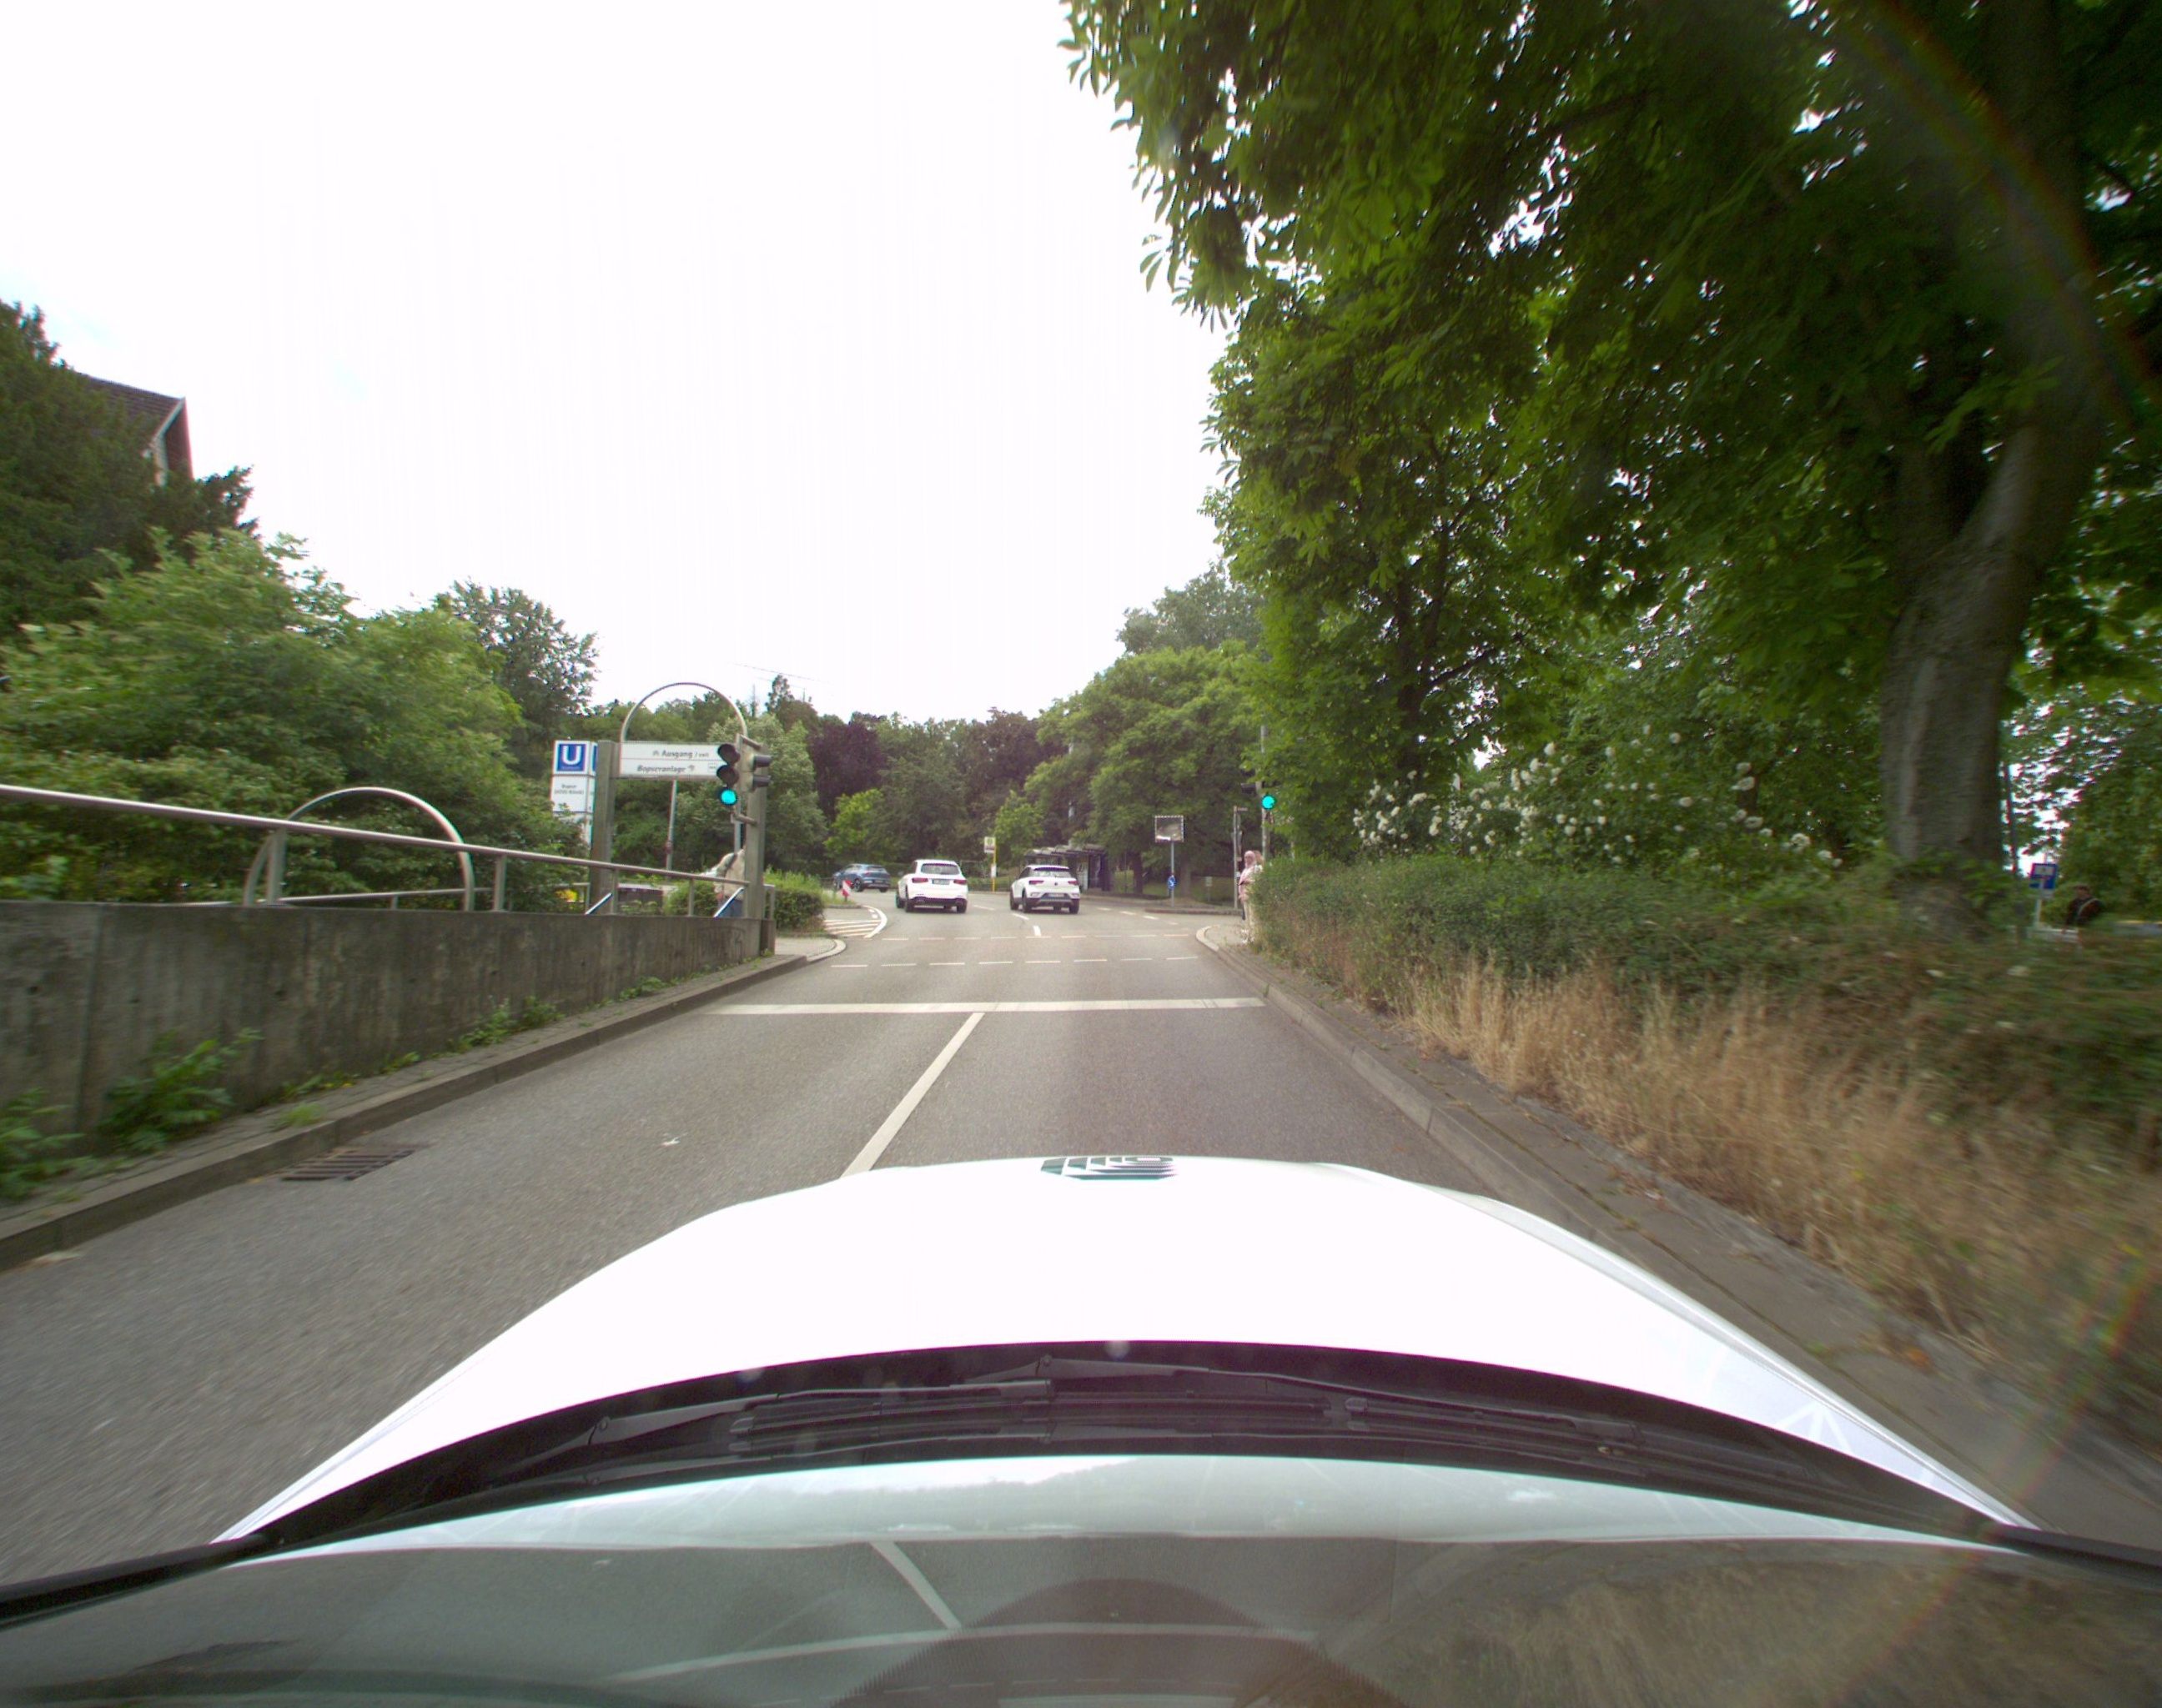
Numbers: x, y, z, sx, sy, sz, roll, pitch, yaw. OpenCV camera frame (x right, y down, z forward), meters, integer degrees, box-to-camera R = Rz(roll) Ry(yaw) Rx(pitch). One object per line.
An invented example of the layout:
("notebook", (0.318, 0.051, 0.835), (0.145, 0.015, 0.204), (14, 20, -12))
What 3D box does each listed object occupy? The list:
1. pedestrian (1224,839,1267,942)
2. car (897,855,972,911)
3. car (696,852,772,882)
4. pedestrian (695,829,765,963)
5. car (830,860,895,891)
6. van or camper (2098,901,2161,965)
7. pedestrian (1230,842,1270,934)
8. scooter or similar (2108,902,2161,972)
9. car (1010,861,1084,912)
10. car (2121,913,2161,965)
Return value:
("pedestrian", (2.829, 0.615, 14.056), (0.612, 1.712, 0.728), (-2, -1, 5))
("car", (-4.846, 0.922, 26.457), (1.881, 1.652, 4.316), (2, -2, -17))
("car", (-20.174, 0.749, 47.323), (4.252, 1.519, 2.268), (0, -5, 40))
("pedestrian", (-5.045, 0.594, 11.720), (0.701, 1.861, 0.615), (-1, -1, 8))
("car", (-12.307, 1.210, 45.780), (1.877, 1.632, 3.911), (4, -3, -42))
("van or camper", (36.416, 2.721, 27.643), (4.485, 1.978, 1.871), (5, -3, -32))
("pedestrian", (3.224, 0.641, 15.583), (0.612, 1.712, 0.728), (-2, -1, 5))
("scooter or similar", (19.808, 1.530, 15.049), (0.458, 1.248, 1.327), (1, -3, 23))
("car", (-1.215, 1.044, 27.132), (1.866, 1.556, 3.879), (2, -1, -11))
("car", (45.480, 3.560, 34.031), (1.975, 2.014, 4.023), (0, -2, 45))
